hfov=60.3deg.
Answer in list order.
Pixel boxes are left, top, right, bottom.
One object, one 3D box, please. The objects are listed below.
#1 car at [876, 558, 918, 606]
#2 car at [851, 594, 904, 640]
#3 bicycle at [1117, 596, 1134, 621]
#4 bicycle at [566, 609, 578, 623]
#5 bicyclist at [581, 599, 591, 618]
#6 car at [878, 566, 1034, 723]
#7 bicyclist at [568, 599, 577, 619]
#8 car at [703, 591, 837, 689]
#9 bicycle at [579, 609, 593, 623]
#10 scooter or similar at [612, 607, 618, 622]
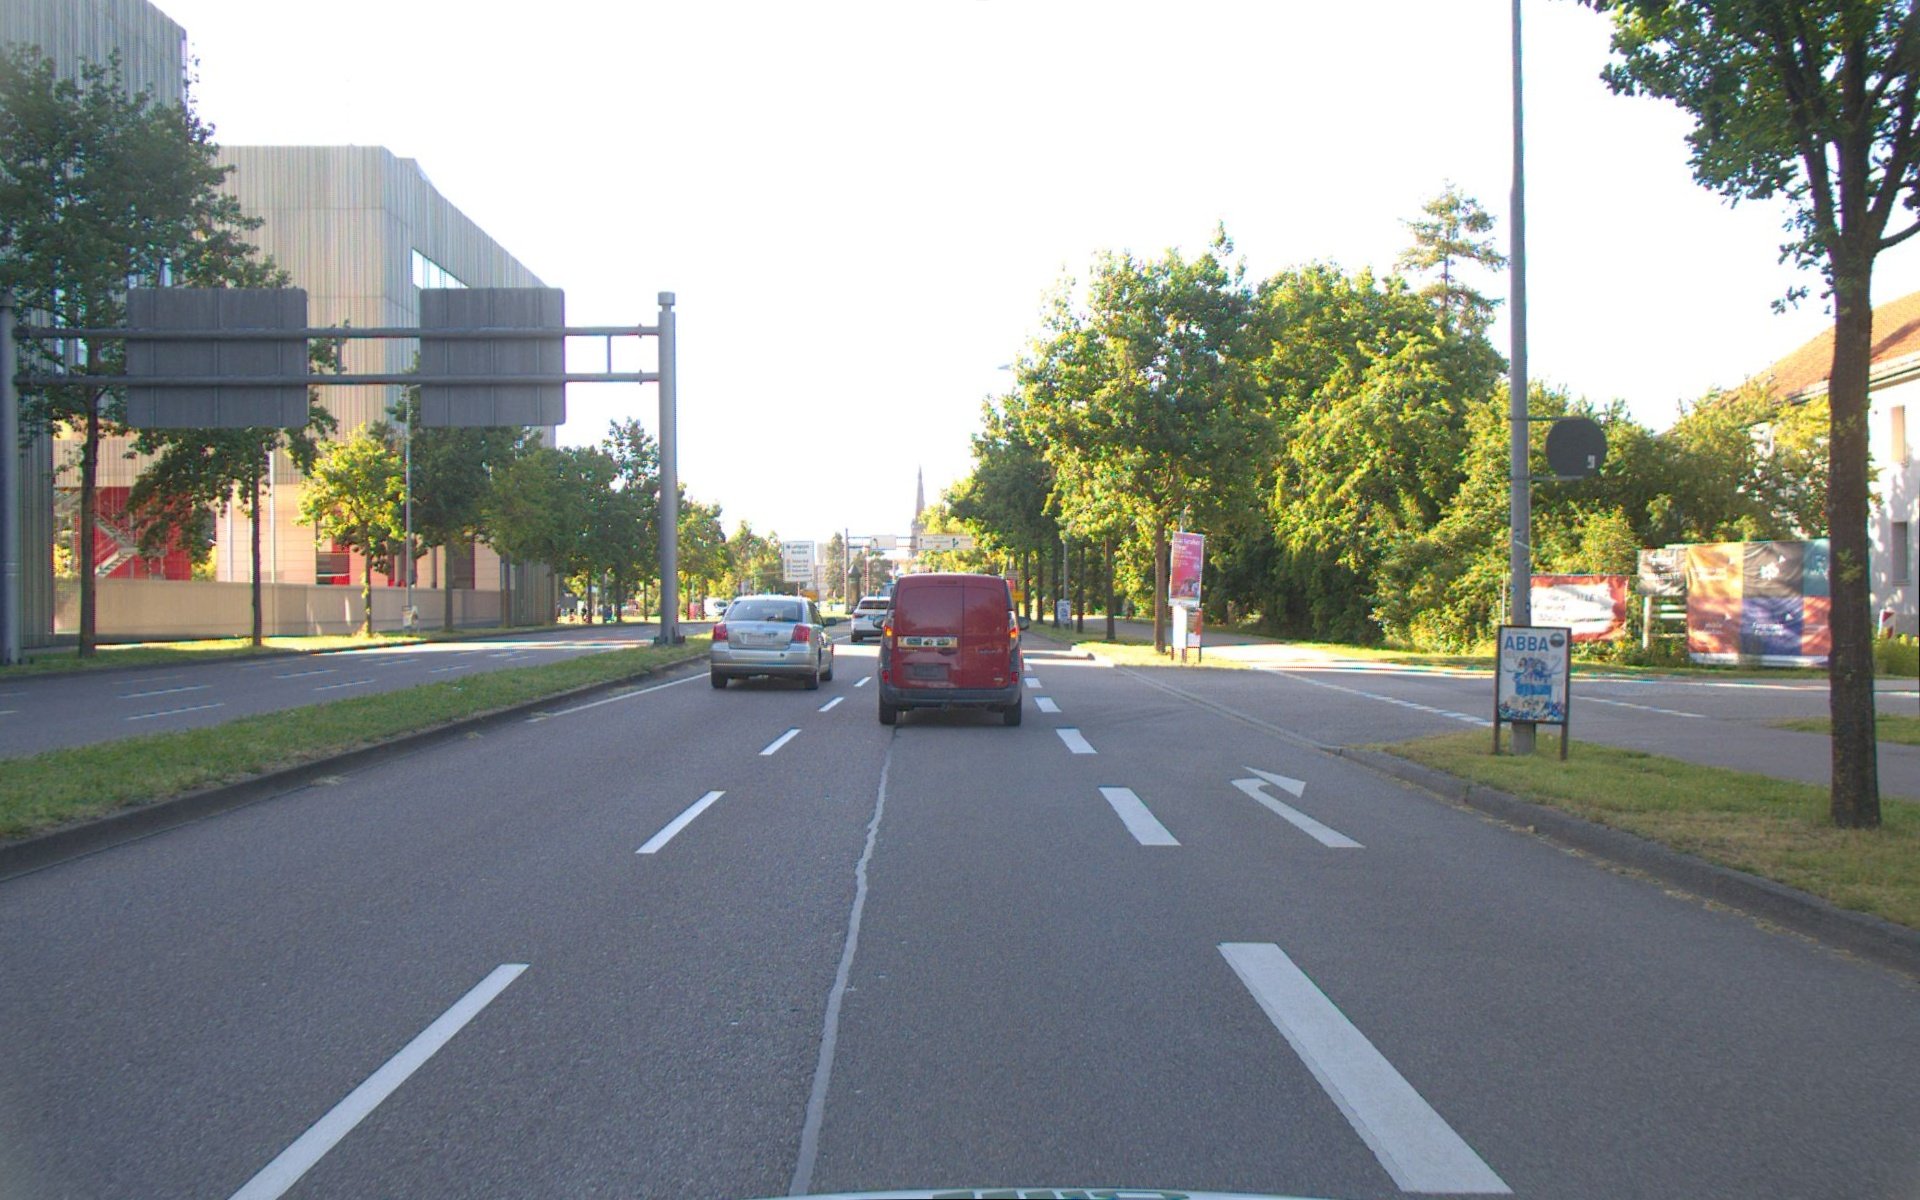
[{"bbox_3d":[-2.539,-0.729,67.337,1.628,1.889,3.557,-1,0,-2],"label":"car"},{"bbox_3d":[-2.650,0.543,53.457,1.628,1.422,3.557,-1,0,-2],"label":"car"},{"bbox_3d":[7.985,0.406,79.668,0.757,1.151,1.710,-1,0,6],"label":"bicycle"},{"bbox_3d":[-27.888,1.153,118.827,0.477,1.021,2.095,-1,-1,-2],"label":"bicycle"},{"bbox_3d":[-26.871,0.612,118.749,0.551,1.417,0.747,-1,-1,-3],"label":"bicyclist"},{"bbox_3d":[-0.100,0.519,21.029,1.770,1.790,4.004,1,0,-2],"label":"car"},{"bbox_3d":[-27.906,0.649,118.998,0.472,1.419,0.844,-1,-1,-3],"label":"bicyclist"},{"bbox_3d":[-3.074,0.611,27.483,1.803,1.482,4.161,1,0,-1],"label":"car"},{"bbox_3d":[-26.865,1.131,118.777,0.558,1.021,2.095,-1,-1,-2],"label":"bicycle"},{"bbox_3d":[-26.629,1.127,127.623,0.226,1.169,1.327,-1,-1,-1],"label":"scooter or similar"}]
